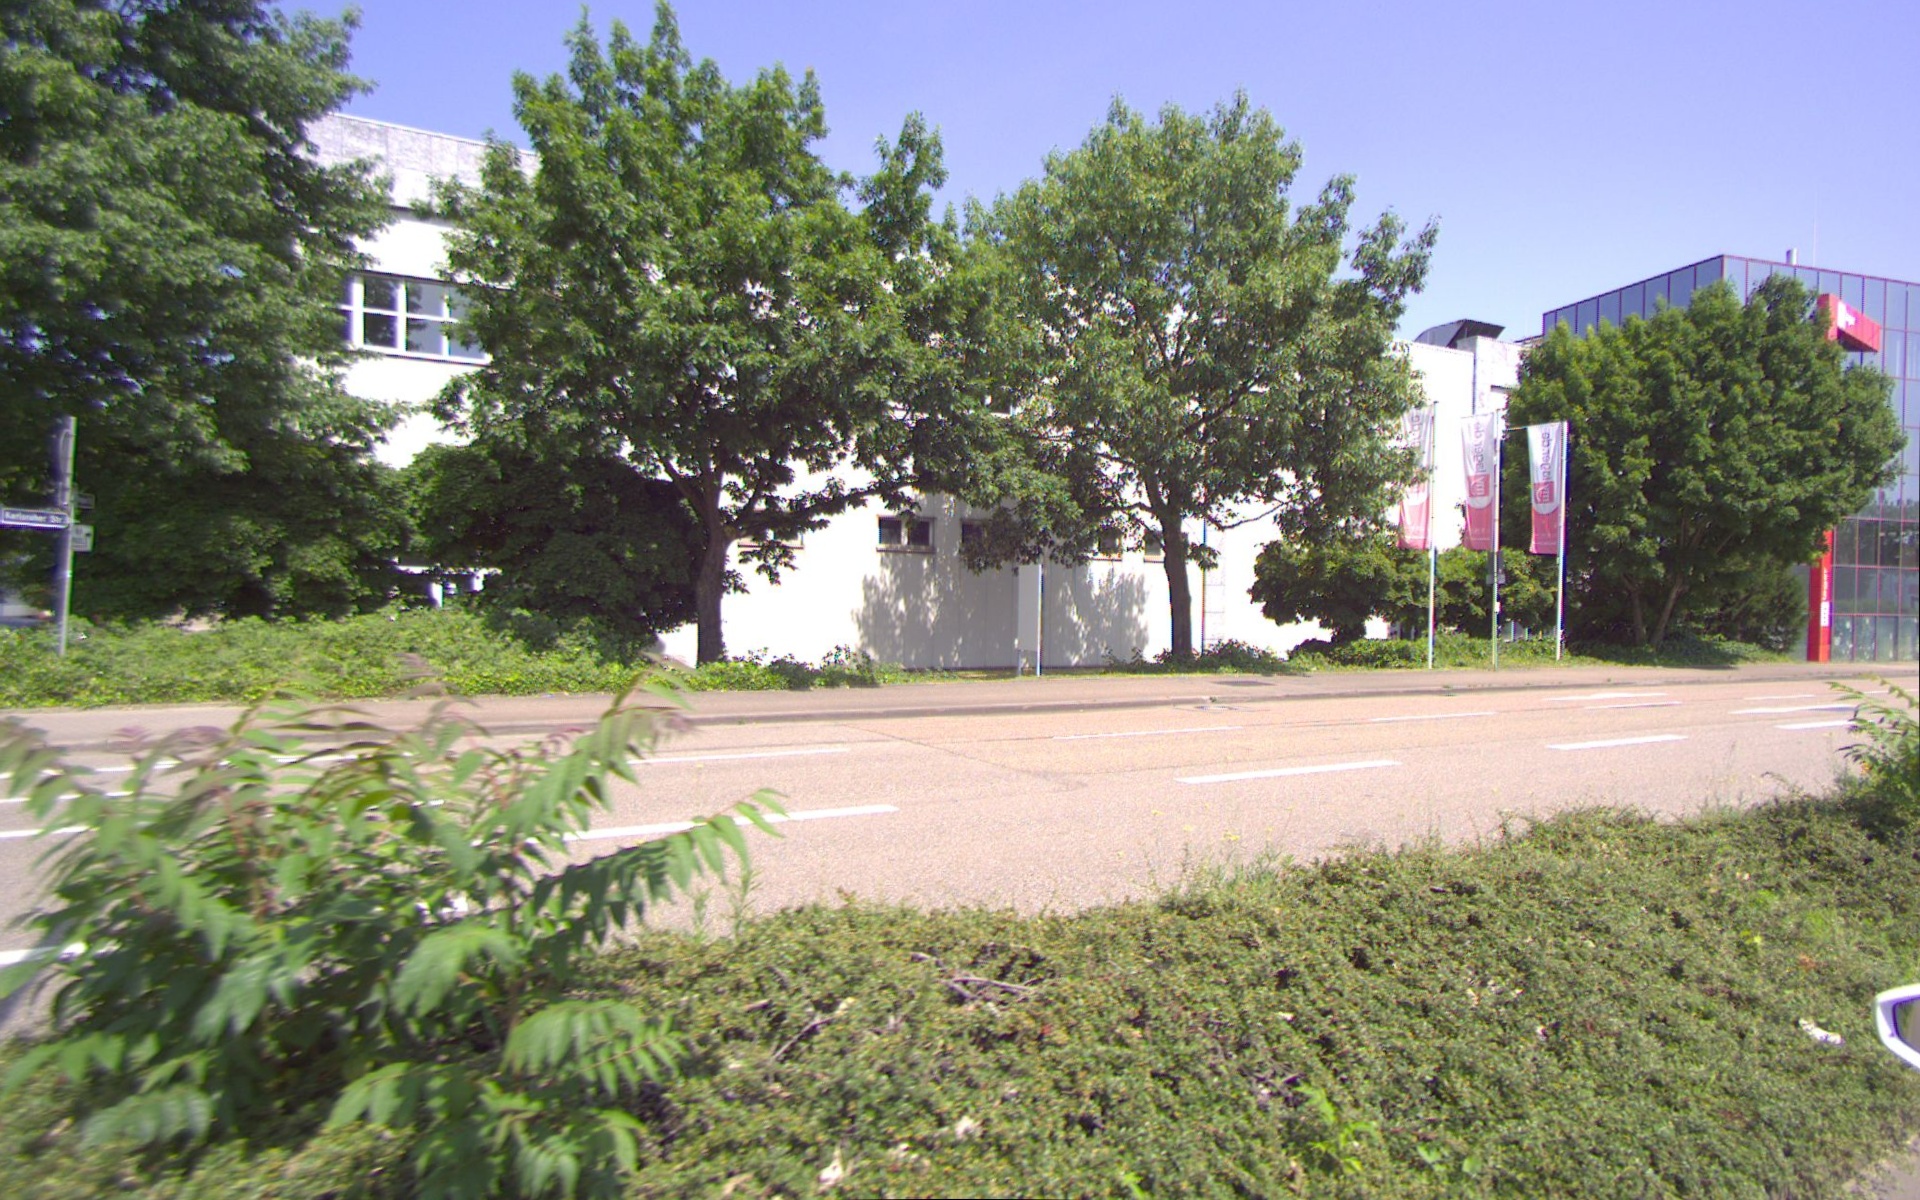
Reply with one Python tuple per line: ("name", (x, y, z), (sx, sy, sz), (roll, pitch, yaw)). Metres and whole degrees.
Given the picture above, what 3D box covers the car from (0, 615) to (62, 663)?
("car", (-32.490, 1.302, 34.379), (1.694, 1.550, 3.638), (1, -2, -27))
